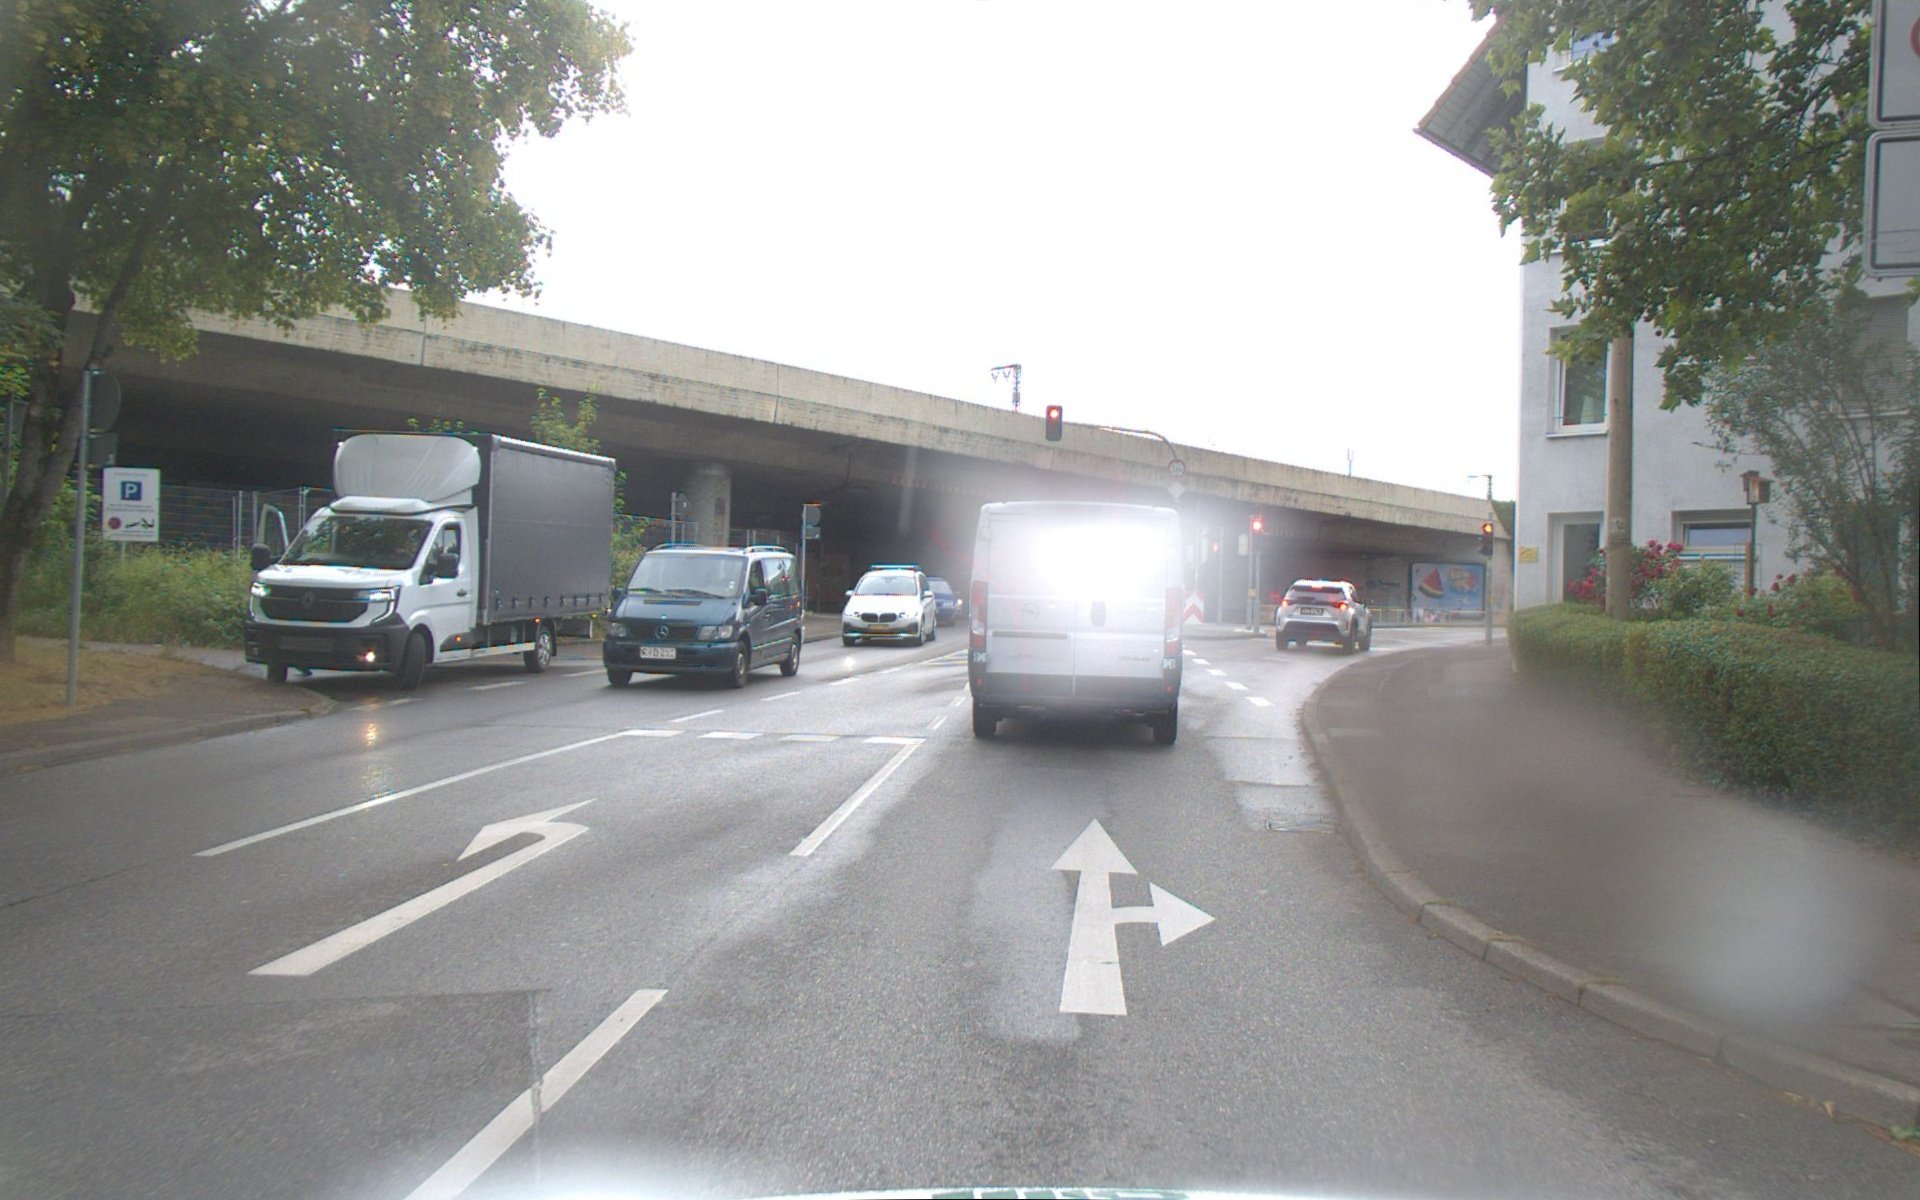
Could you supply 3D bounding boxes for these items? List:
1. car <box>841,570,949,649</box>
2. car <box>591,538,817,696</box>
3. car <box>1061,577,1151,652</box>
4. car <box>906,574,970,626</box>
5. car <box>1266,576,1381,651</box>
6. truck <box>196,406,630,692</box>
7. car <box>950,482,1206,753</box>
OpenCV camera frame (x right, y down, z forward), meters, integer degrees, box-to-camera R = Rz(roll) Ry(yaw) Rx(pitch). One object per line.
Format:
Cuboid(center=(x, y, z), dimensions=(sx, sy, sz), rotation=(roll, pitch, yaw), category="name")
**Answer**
Cuboid(center=(-1.410, 0.161, 37.588), dimensions=(1.792, 1.606, 4.337), rotation=(3, 1, 6), category="car")
Cuboid(center=(-3.476, 0.208, 23.432), dimensions=(1.916, 1.965, 4.687), rotation=(1, 0, 7), category="car")
Cuboid(center=(3.756, 0.377, 42.039), dimensions=(1.951, 1.759, 4.003), rotation=(2, 0, 9), category="car")
Cuboid(center=(-0.636, -0.024, 50.385), dimensions=(1.564, 1.450, 3.699), rotation=(2, 1, 5), category="car")
Cuboid(center=(8.419, 0.327, 38.072), dimensions=(1.953, 1.576, 4.000), rotation=(2, -1, 21), category="car")
Cuboid(center=(-7.224, -0.606, 23.320), dimensions=(2.555, 3.293, 7.782), rotation=(2, 0, 8), category="truck")
Cuboid(center=(1.234, 0.106, 17.694), dimensions=(2.257, 2.384, 5.285), rotation=(2, 1, 3), category="car")
